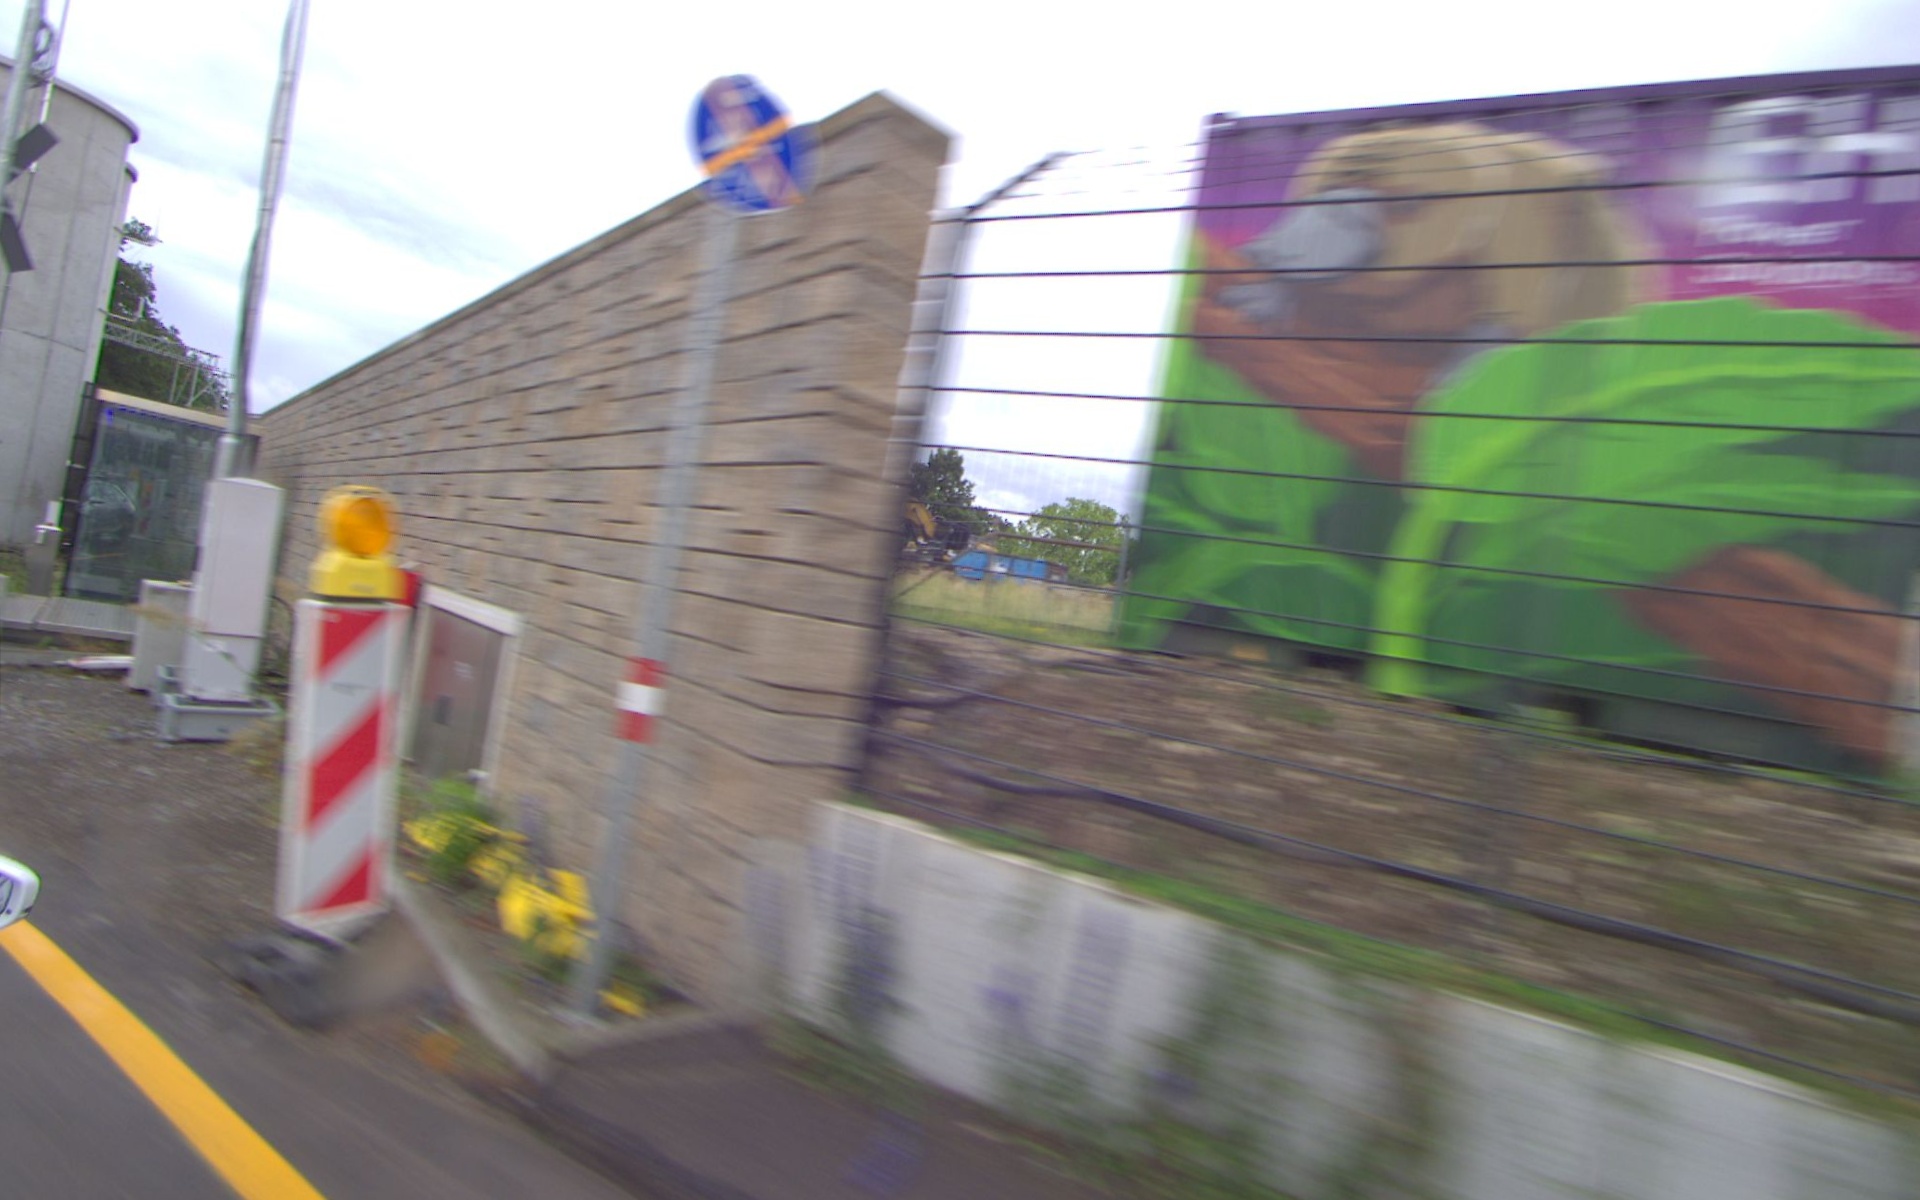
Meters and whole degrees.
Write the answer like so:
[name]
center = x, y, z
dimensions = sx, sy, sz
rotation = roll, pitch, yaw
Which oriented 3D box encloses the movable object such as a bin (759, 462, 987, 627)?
[movable object such as a bin]
center = -3.870, -2.427, 48.826
dimensions = 3.441, 6.064, 11.228
rotation = 7, -2, 40
